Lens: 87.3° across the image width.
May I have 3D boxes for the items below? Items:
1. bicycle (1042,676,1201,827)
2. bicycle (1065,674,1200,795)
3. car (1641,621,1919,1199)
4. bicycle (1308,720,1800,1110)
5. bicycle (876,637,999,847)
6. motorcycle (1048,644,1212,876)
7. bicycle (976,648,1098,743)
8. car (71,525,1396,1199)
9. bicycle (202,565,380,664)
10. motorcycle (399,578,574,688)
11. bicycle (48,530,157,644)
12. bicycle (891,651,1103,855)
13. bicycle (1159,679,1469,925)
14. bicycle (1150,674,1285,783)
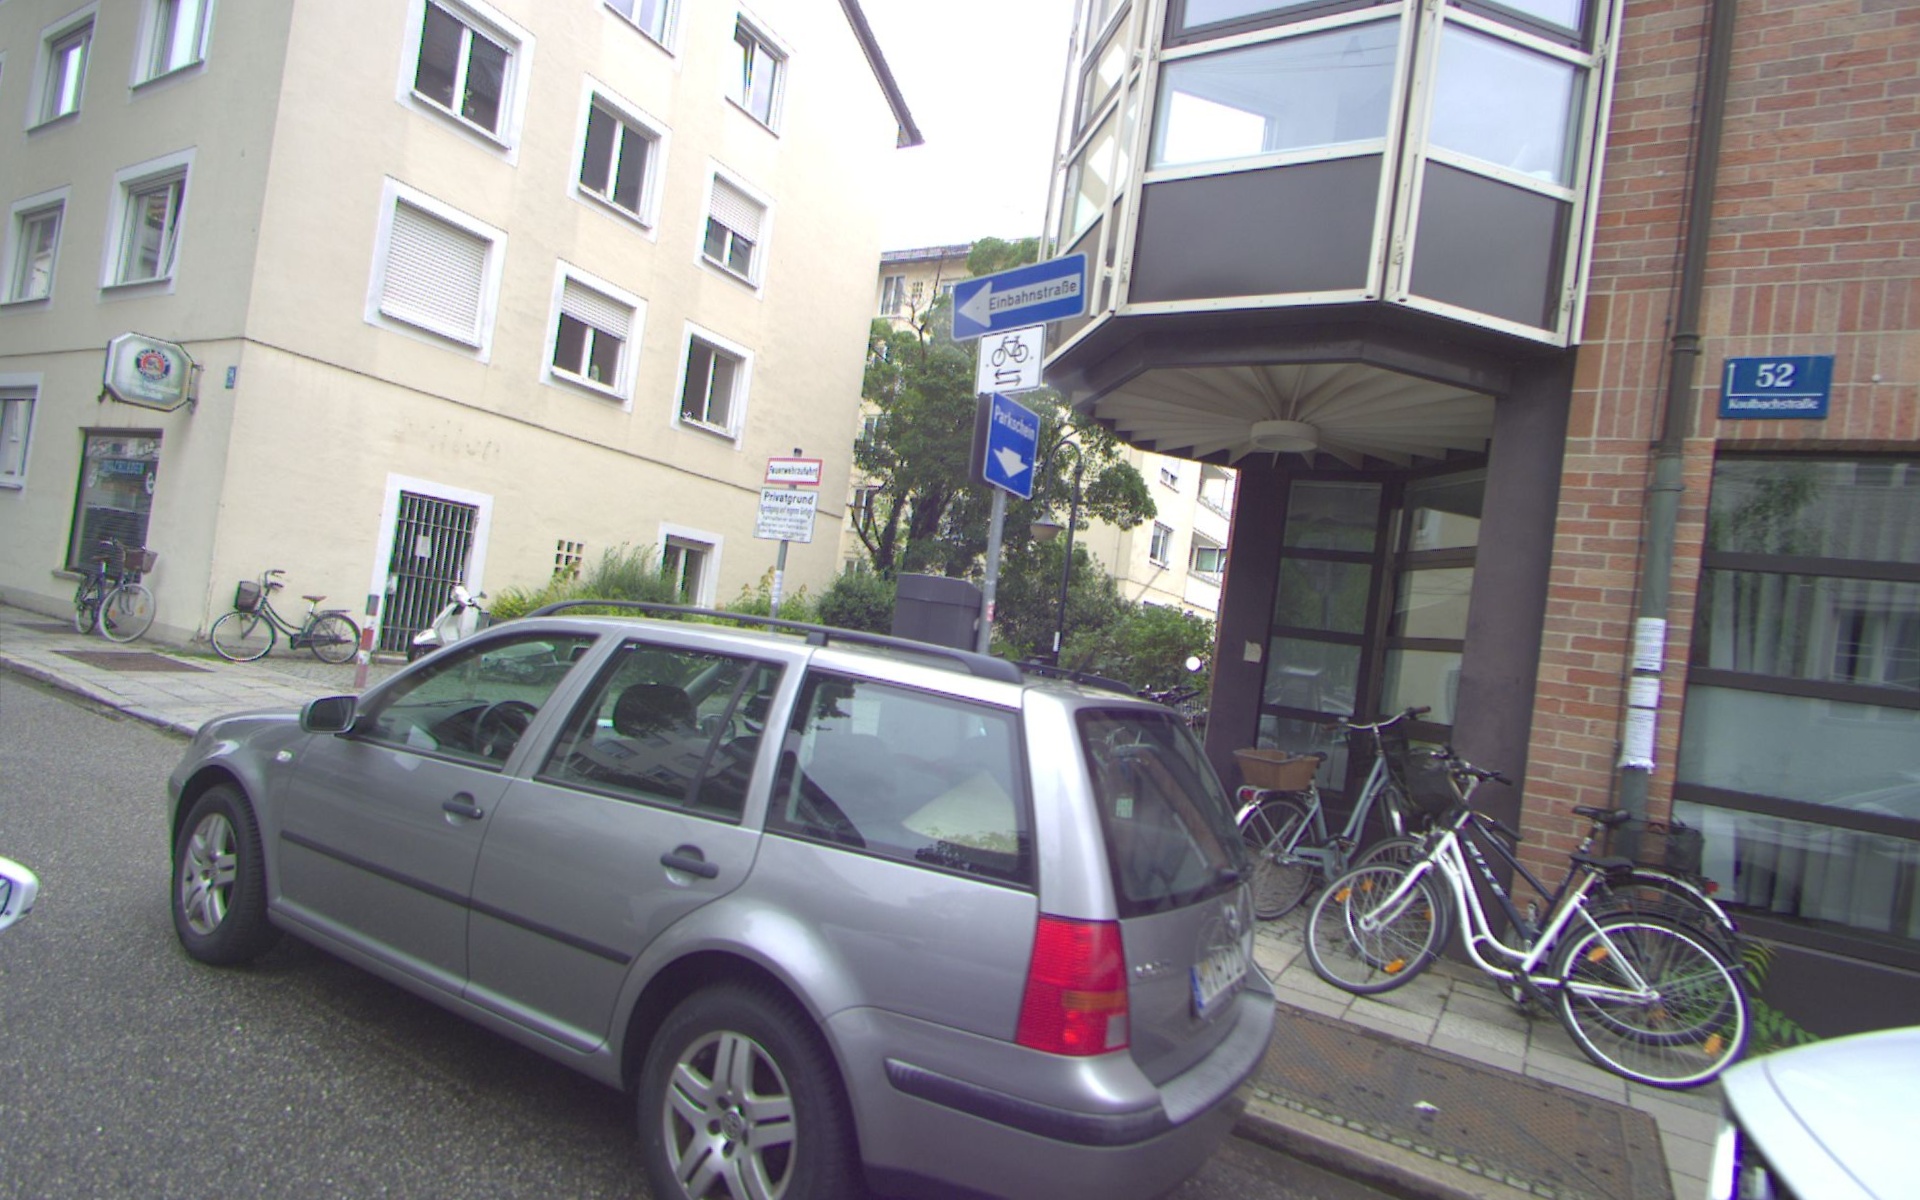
[{"bbox_3d":[1.391,1.249,8.400,0.436,1.085,1.750,7,-2,37],"label":"bicycle"},{"bbox_3d":[1.805,1.368,10.269,0.436,1.085,1.881,7,-2,37],"label":"bicycle"},{"bbox_3d":[3.252,1.141,0.698,4.379,1.633,1.726,7,-3,30],"label":"car"},{"bbox_3d":[2.697,1.314,4.718,0.739,1.231,1.758,8,-2,-44],"label":"bicycle"},{"bbox_3d":[-0.118,0.996,7.621,0.576,1.338,1.807,6,-2,6],"label":"bicycle"},{"bbox_3d":[1.274,1.070,7.224,0.542,1.401,1.764,7,0,26],"label":"motorcycle"},{"bbox_3d":[1.180,1.486,16.089,0.799,1.282,2.252,9,-4,-25],"label":"bicycle"},{"bbox_3d":[-0.975,0.756,3.480,4.285,1.450,1.726,7,-3,30],"label":"car"},{"bbox_3d":[-8.021,0.204,12.141,0.404,1.038,1.704,5,-2,31],"label":"bicycle"},{"bbox_3d":[-6.145,0.428,13.129,1.842,1.135,0.620,9,0,-7],"label":"motorcycle"},{"bbox_3d":[-10.372,-0.169,12.150,1.789,1.229,0.410,5,0,32],"label":"bicycle"},{"bbox_3d":[0.317,1.010,6.981,0.436,1.201,1.748,7,0,37],"label":"bicycle"},{"bbox_3d":[2.154,1.200,6.025,1.857,1.244,0.589,8,-2,-30],"label":"bicycle"},{"bbox_3d":[3.025,1.516,11.832,1.405,1.085,0.441,8,-1,-17],"label":"bicycle"}]
